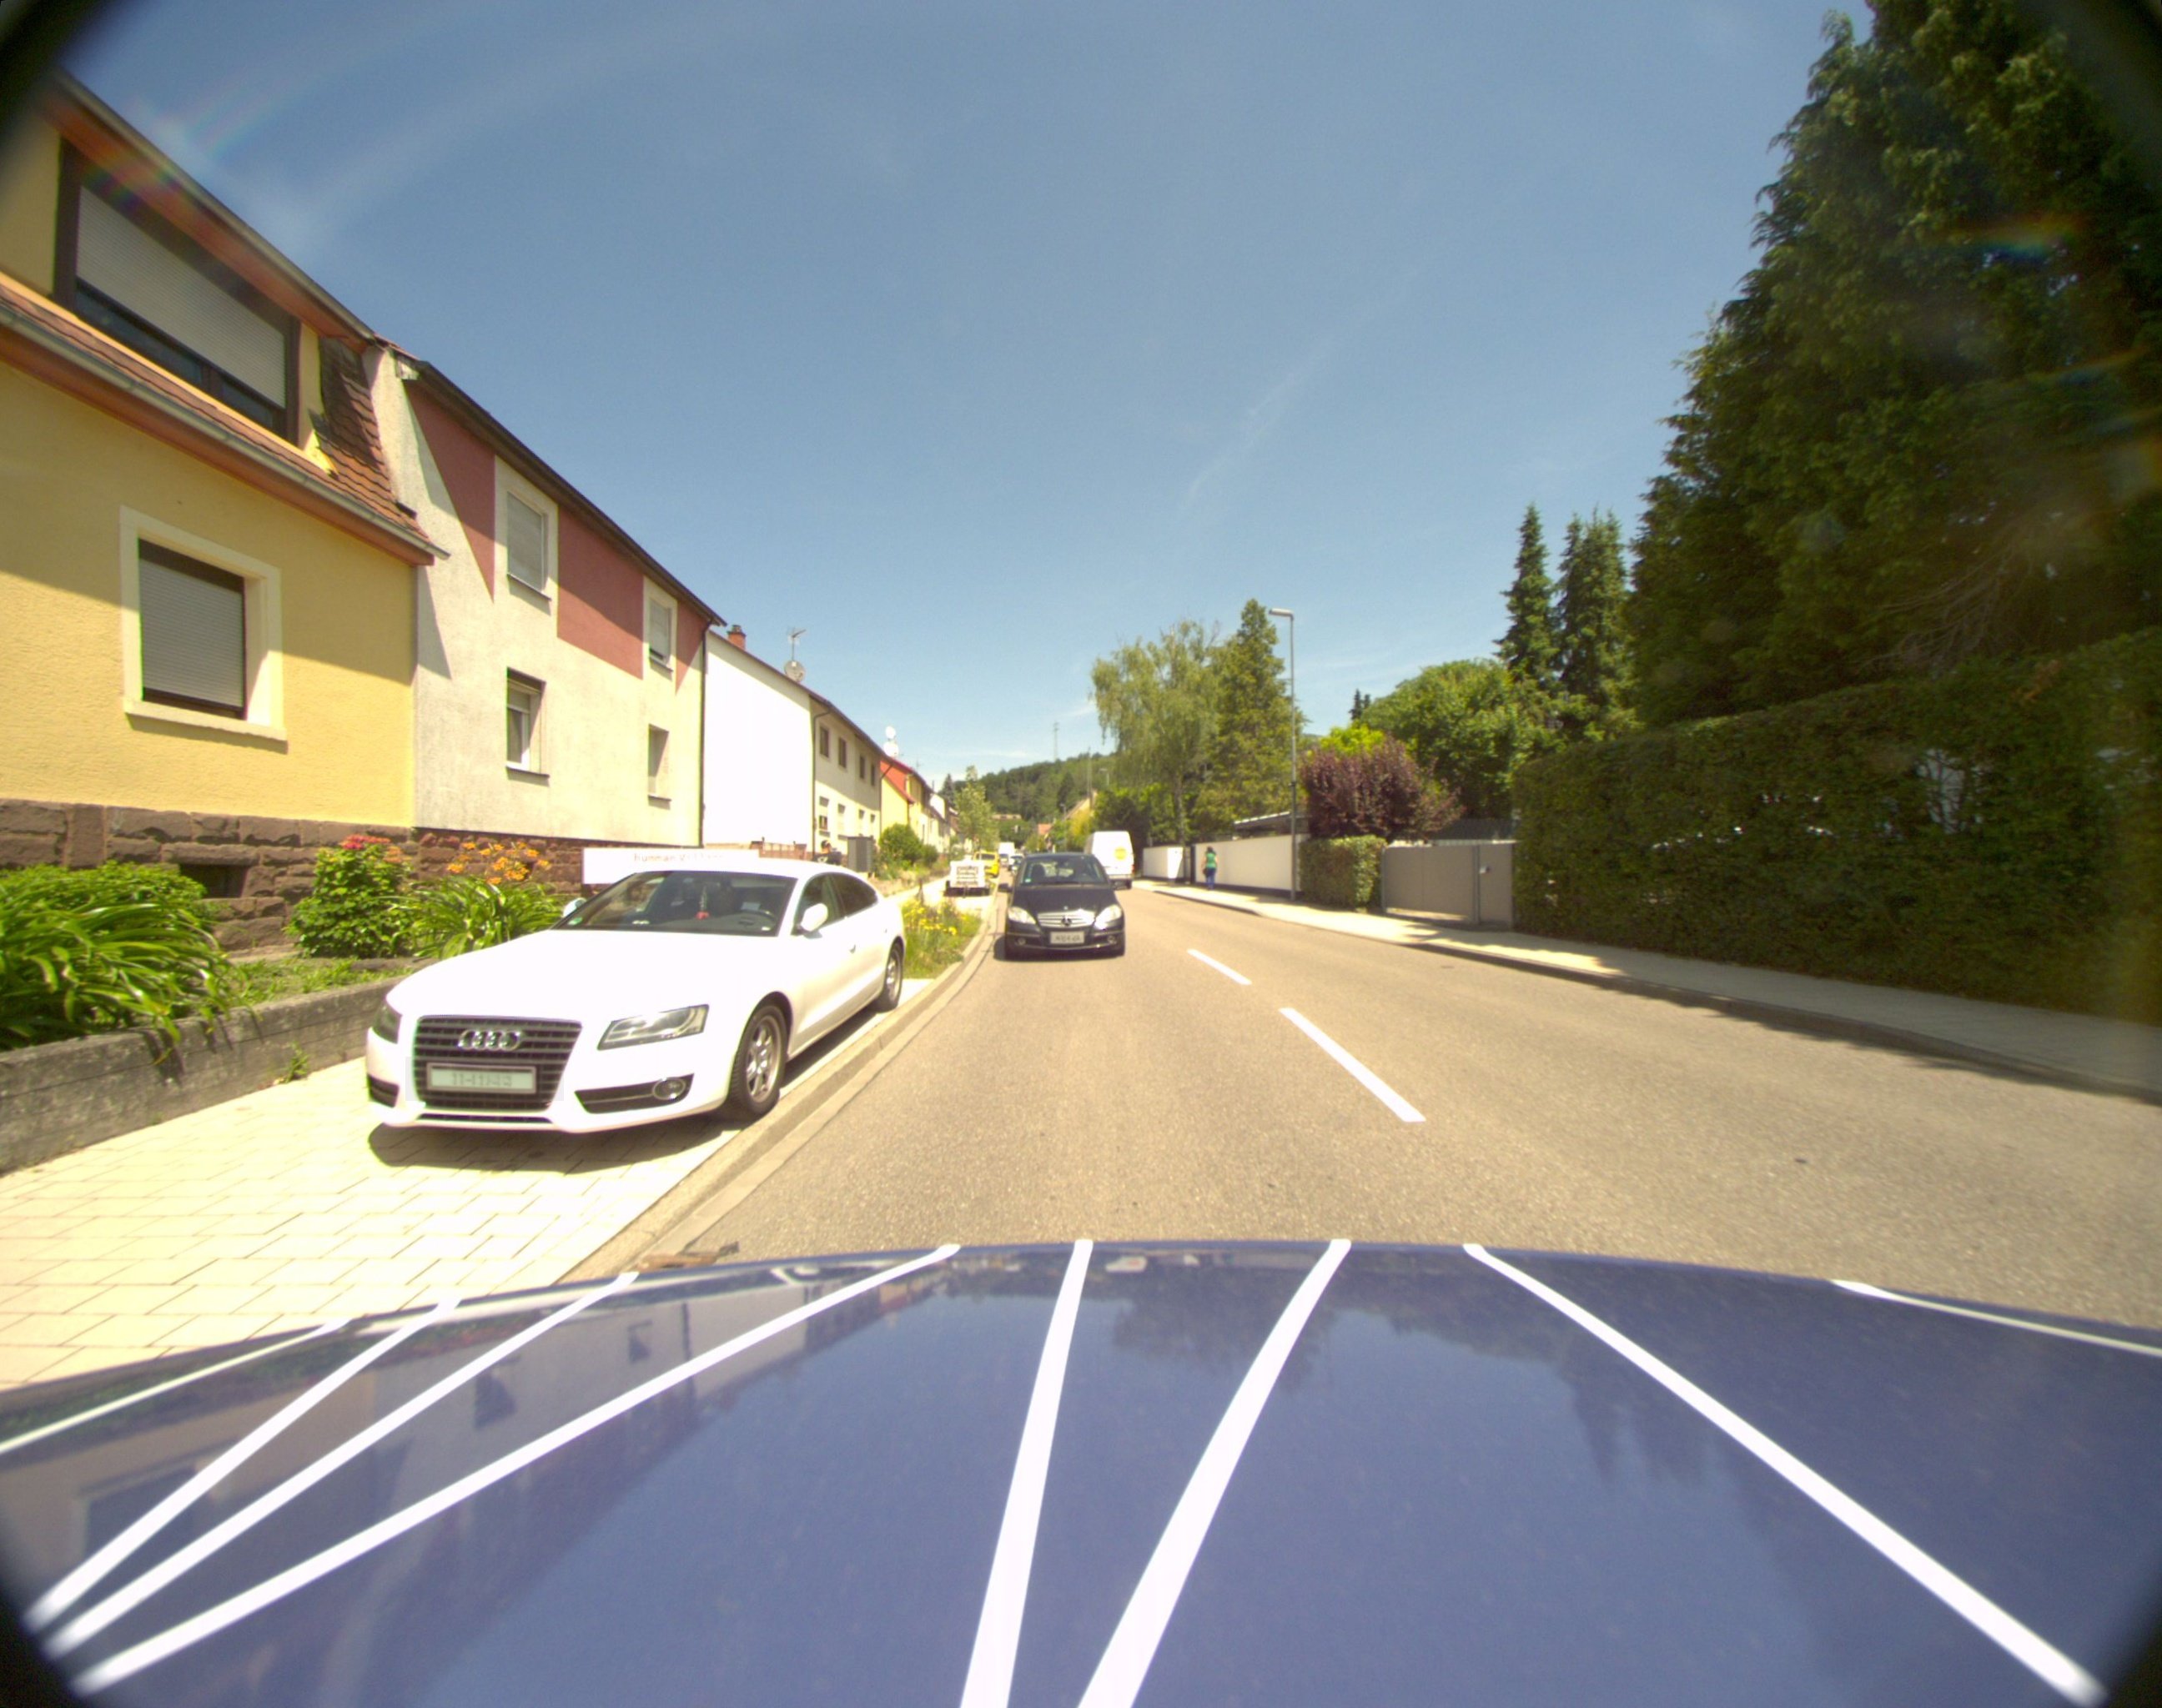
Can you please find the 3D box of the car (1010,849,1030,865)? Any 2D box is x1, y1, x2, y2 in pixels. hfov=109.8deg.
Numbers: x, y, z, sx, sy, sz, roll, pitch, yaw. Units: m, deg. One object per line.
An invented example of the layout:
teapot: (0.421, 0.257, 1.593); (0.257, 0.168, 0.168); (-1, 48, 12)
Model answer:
car: (-7.007, 0.372, 86.897); (2.000, 1.716, 3.997); (-2, 1, -7)

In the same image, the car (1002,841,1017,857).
car: (-9.967, -0.768, 106.575); (1.988, 2.170, 3.997); (-2, 1, -5)

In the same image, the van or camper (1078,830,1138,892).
van or camper: (1.203, 0.303, 36.639); (2.044, 2.698, 5.820); (-1, 0, -6)

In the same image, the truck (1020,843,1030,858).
truck: (-14.858, -0.876, 200.779); (2.549, 3.716, 8.617); (0, 0, -4)

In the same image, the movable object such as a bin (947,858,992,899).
movable object such as a bin: (-4.227, 0.902, 29.186); (1.576, 1.408, 3.039); (0, 1, -6)

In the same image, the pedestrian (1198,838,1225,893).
pedestrian: (4.838, 0.411, 28.193); (0.723, 2.002, 0.803); (-2, 2, -8)

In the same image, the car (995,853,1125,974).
car: (-0.479, 0.833, 13.112); (1.768, 1.572, 4.928); (-2, 1, -4)

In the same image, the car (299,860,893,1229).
car: (-2.623, 0.841, 5.572); (1.762, 1.410, 4.629); (1, 1, -6)

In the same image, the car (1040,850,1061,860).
car: (-5.670, 0.158, 140.985); (3.608, 1.780, 1.847); (-2, 1, -7)

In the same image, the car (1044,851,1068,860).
car: (-4.577, 0.348, 136.869); (4.040, 1.491, 1.707); (-1, 2, 33)

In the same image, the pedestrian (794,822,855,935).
pedestrian: (-4.737, 0.426, 14.101); (0.748, 2.002, 1.032); (-2, 2, -4)

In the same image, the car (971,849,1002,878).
car: (-7.266, 0.668, 58.721); (2.196, 2.002, 5.618); (-1, 1, -7)

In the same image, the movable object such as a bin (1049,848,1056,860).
movable object such as a bin: (-5.102, 0.013, 135.116); (1.062, 2.002, 1.322); (-2, 2, -6)

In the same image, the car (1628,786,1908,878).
car: (16.095, -0.513, 17.979); (4.814, 1.883, 2.160); (-2, 1, -3)
